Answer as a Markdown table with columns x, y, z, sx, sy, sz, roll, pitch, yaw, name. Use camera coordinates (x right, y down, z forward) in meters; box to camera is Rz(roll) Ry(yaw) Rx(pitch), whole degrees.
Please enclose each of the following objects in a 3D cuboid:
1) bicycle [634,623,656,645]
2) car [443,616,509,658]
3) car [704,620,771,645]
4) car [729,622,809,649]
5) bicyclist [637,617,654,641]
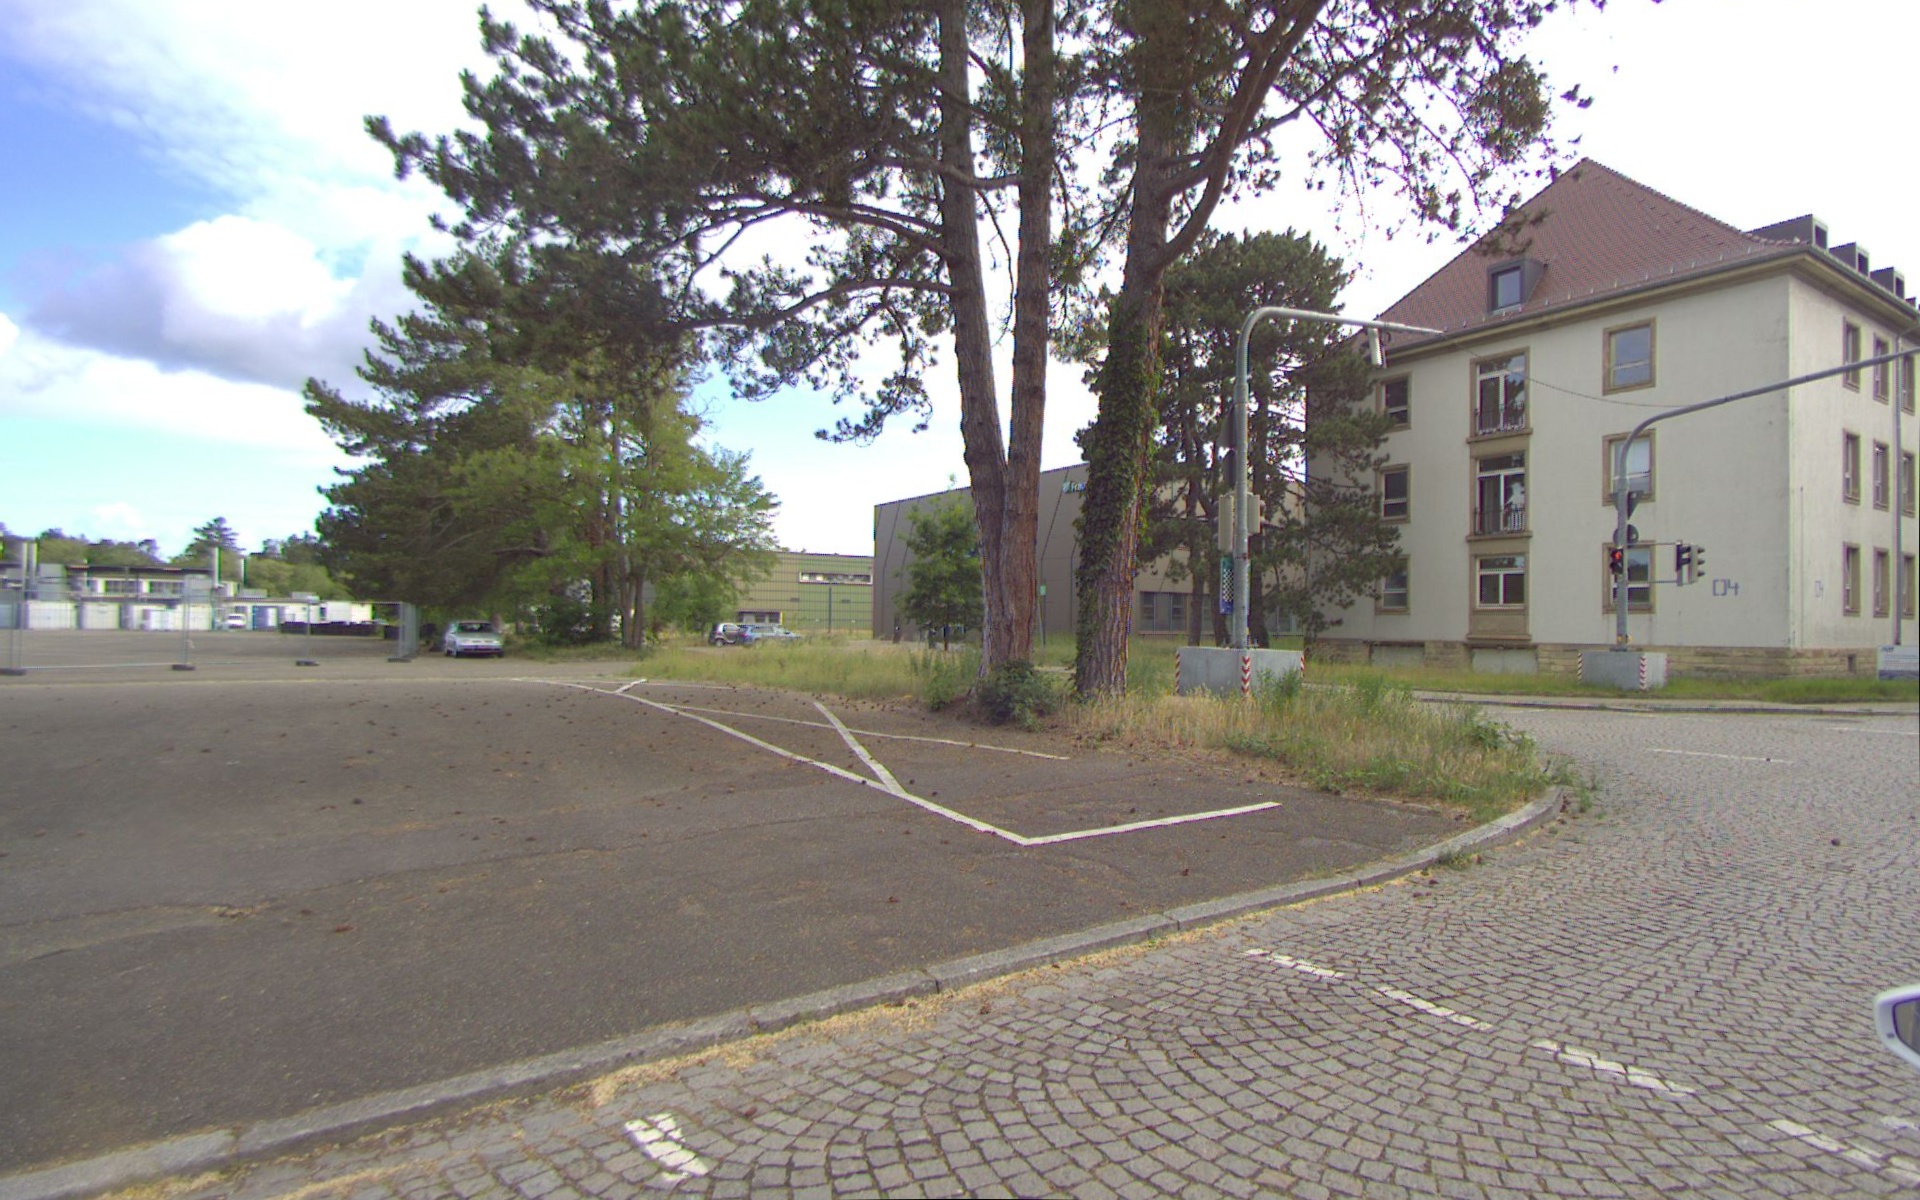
| x | y | z | sx | sy | sz | roll | pitch | yaw | name |
| --- | --- | --- | --- | --- | --- | --- | --- | --- | --- |
| -20.964 | 2.281 | 66.916 | 0.818 | 1.395 | 2.023 | 2 | -1 | -34 | bicycle |
| -19.012 | 1.417 | 39.385 | 1.718 | 1.451 | 4.122 | 2 | -1 | -34 | car |
| -15.164 | 2.216 | 68.508 | 4.081 | 1.593 | 1.747 | 0 | 0 | -36 | car |
| -11.752 | 2.165 | 61.904 | 4.452 | 1.482 | 1.915 | 0 | 0 | -36 | car |
| -20.943 | 1.935 | 66.879 | 0.891 | 1.562 | 0.859 | 2 | -1 | -35 | bicyclist |
